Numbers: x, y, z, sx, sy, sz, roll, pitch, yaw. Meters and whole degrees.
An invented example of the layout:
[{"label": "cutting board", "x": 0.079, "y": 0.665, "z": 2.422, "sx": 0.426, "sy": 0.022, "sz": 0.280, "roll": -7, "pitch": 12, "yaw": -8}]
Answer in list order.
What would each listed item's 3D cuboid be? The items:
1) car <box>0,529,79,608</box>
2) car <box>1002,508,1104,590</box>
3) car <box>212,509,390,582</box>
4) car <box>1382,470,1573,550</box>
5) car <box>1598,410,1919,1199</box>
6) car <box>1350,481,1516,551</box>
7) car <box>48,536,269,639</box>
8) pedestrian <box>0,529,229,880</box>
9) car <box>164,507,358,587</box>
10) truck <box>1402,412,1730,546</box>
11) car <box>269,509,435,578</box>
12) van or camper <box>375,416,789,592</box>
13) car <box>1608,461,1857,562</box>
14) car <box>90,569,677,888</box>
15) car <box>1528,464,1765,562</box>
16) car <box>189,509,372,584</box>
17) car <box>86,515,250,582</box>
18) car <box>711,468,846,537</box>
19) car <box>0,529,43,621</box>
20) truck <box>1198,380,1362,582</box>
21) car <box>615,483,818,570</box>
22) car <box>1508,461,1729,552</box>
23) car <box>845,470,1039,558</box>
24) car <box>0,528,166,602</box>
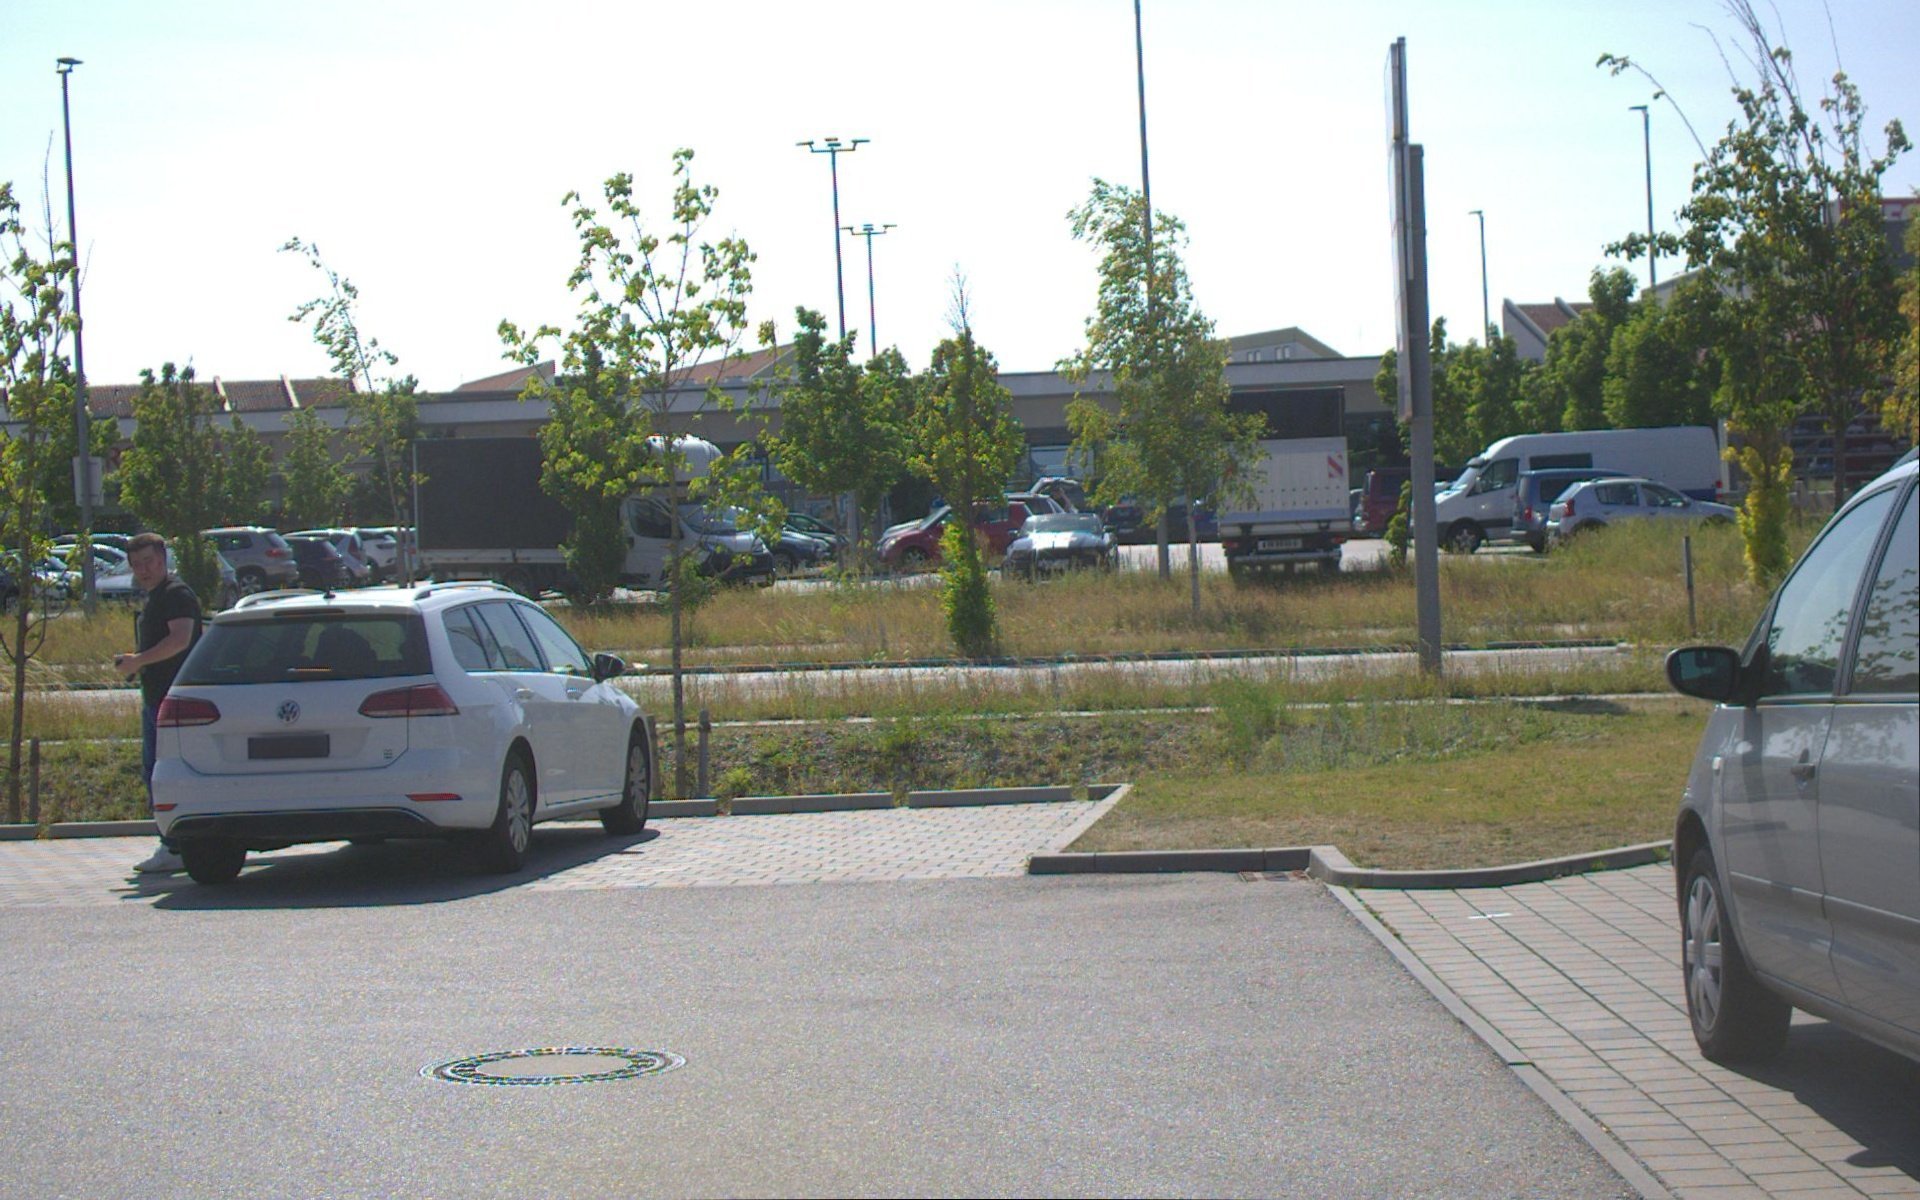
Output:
[{"label": "car", "x": -23.763, "y": -0.739, "z": 83.108, "sx": 4.390, "sy": 1.849, "sz": 1.956, "roll": -1, "pitch": 1, "yaw": 0}, {"label": "car", "x": 1.767, "y": -0.970, "z": 64.211, "sx": 1.650, "sy": 1.454, "sz": 3.966, "roll": -1, "pitch": 1, "yaw": 5}, {"label": "car", "x": -17.774, "y": -1.479, "z": 92.835, "sx": 4.390, "sy": 1.849, "sz": 1.956, "roll": -1, "pitch": 1, "yaw": 0}, {"label": "car", "x": 12.751, "y": -2.218, "z": 84.868, "sx": 4.390, "sy": 1.849, "sz": 1.956, "roll": -1, "pitch": 1, "yaw": 0}, {"label": "car", "x": 2.911, "y": 0.427, "z": 8.101, "sx": 1.827, "sy": 1.742, "sz": 4.684, "roll": -2, "pitch": 1, "yaw": -1}, {"label": "car", "x": 13.370, "y": -2.378, "z": 97.363, "sx": 4.390, "sy": 1.849, "sz": 1.956, "roll": -1, "pitch": 1, "yaw": 0}, {"label": "car", "x": -15.642, "y": -0.270, "z": 67.325, "sx": 1.951, "sy": 1.849, "sz": 4.400, "roll": -1, "pitch": 1, "yaw": 23}, {"label": "pedestrian", "x": -4.552, "y": 0.541, "z": 18.373, "sx": 0.991, "sy": 1.803, "sz": 0.726, "roll": -2, "pitch": 0, "yaw": -38}, {"label": "car", "x": -17.367, "y": -1.322, "z": 85.582, "sx": 4.390, "sy": 1.849, "sz": 1.956, "roll": -1, "pitch": 1, "yaw": 0}, {"label": "truck", "x": 13.682, "y": -2.726, "z": 77.861, "sx": 7.035, "sy": 2.805, "sz": 1.956, "roll": -1, "pitch": 1, "yaw": 0}, {"label": "car", "x": -17.447, "y": -1.624, "z": 98.802, "sx": 4.390, "sy": 1.849, "sz": 1.956, "roll": -1, "pitch": 1, "yaw": 0}, {"label": "van or camper", "x": -7.241, "y": -1.783, "z": 65.266, "sx": 8.044, "sy": 3.091, "sz": 2.415, "roll": -1, "pitch": 1, "yaw": 33}, {"label": "car", "x": 15.072, "y": -1.729, "z": 67.234, "sx": 4.390, "sy": 1.849, "sz": 1.956, "roll": -1, "pitch": 1, "yaw": 0}, {"label": "car", "x": -2.937, "y": 0.604, "z": 18.575, "sx": 1.828, "sy": 1.464, "sz": 4.480, "roll": -2, "pitch": 0, "yaw": 8}, {"label": "car", "x": 13.931, "y": -1.762, "z": 69.952, "sx": 4.390, "sy": 1.849, "sz": 1.956, "roll": -1, "pitch": 1, "yaw": 0}, {"label": "car", "x": -17.850, "y": -1.423, "z": 90.485, "sx": 4.390, "sy": 1.849, "sz": 1.956, "roll": -1, "pitch": 1, "yaw": 0}, {"label": "car", "x": -23.417, "y": -1.539, "z": 101.730, "sx": 4.390, "sy": 1.849, "sz": 1.956, "roll": -2, "pitch": 1, "yaw": -3}, {"label": "car", "x": -5.623, "y": -3.021, "z": 106.884, "sx": 3.987, "sy": 2.007, "sz": 2.000, "roll": -1, "pitch": 1, "yaw": 3}, {"label": "car", "x": -20.666, "y": -0.450, "z": 69.107, "sx": 1.951, "sy": 1.849, "sz": 4.400, "roll": -1, "pitch": 1, "yaw": 23}, {"label": "truck", "x": 5.889, "y": -2.159, "z": 63.427, "sx": 2.760, "sy": 3.468, "sz": 6.832, "roll": -1, "pitch": 1, "yaw": 5}, {"label": "car", "x": -6.035, "y": -1.826, "z": 85.363, "sx": 4.915, "sy": 2.007, "sz": 2.083, "roll": -2, "pitch": 1, "yaw": -4}, {"label": "car", "x": 14.346, "y": -2.033, "z": 75.051, "sx": 4.390, "sy": 1.849, "sz": 1.956, "roll": -1, "pitch": 1, "yaw": 0}, {"label": "car", "x": -0.397, "y": -1.934, "z": 77.125, "sx": 4.253, "sy": 1.849, "sz": 1.870, "roll": -1, "pitch": 1, "yaw": 0}, {"label": "car", "x": -23.525, "y": -0.941, "z": 91.272, "sx": 4.390, "sy": 1.849, "sz": 1.956, "roll": -1, "pitch": 1, "yaw": 0}]
